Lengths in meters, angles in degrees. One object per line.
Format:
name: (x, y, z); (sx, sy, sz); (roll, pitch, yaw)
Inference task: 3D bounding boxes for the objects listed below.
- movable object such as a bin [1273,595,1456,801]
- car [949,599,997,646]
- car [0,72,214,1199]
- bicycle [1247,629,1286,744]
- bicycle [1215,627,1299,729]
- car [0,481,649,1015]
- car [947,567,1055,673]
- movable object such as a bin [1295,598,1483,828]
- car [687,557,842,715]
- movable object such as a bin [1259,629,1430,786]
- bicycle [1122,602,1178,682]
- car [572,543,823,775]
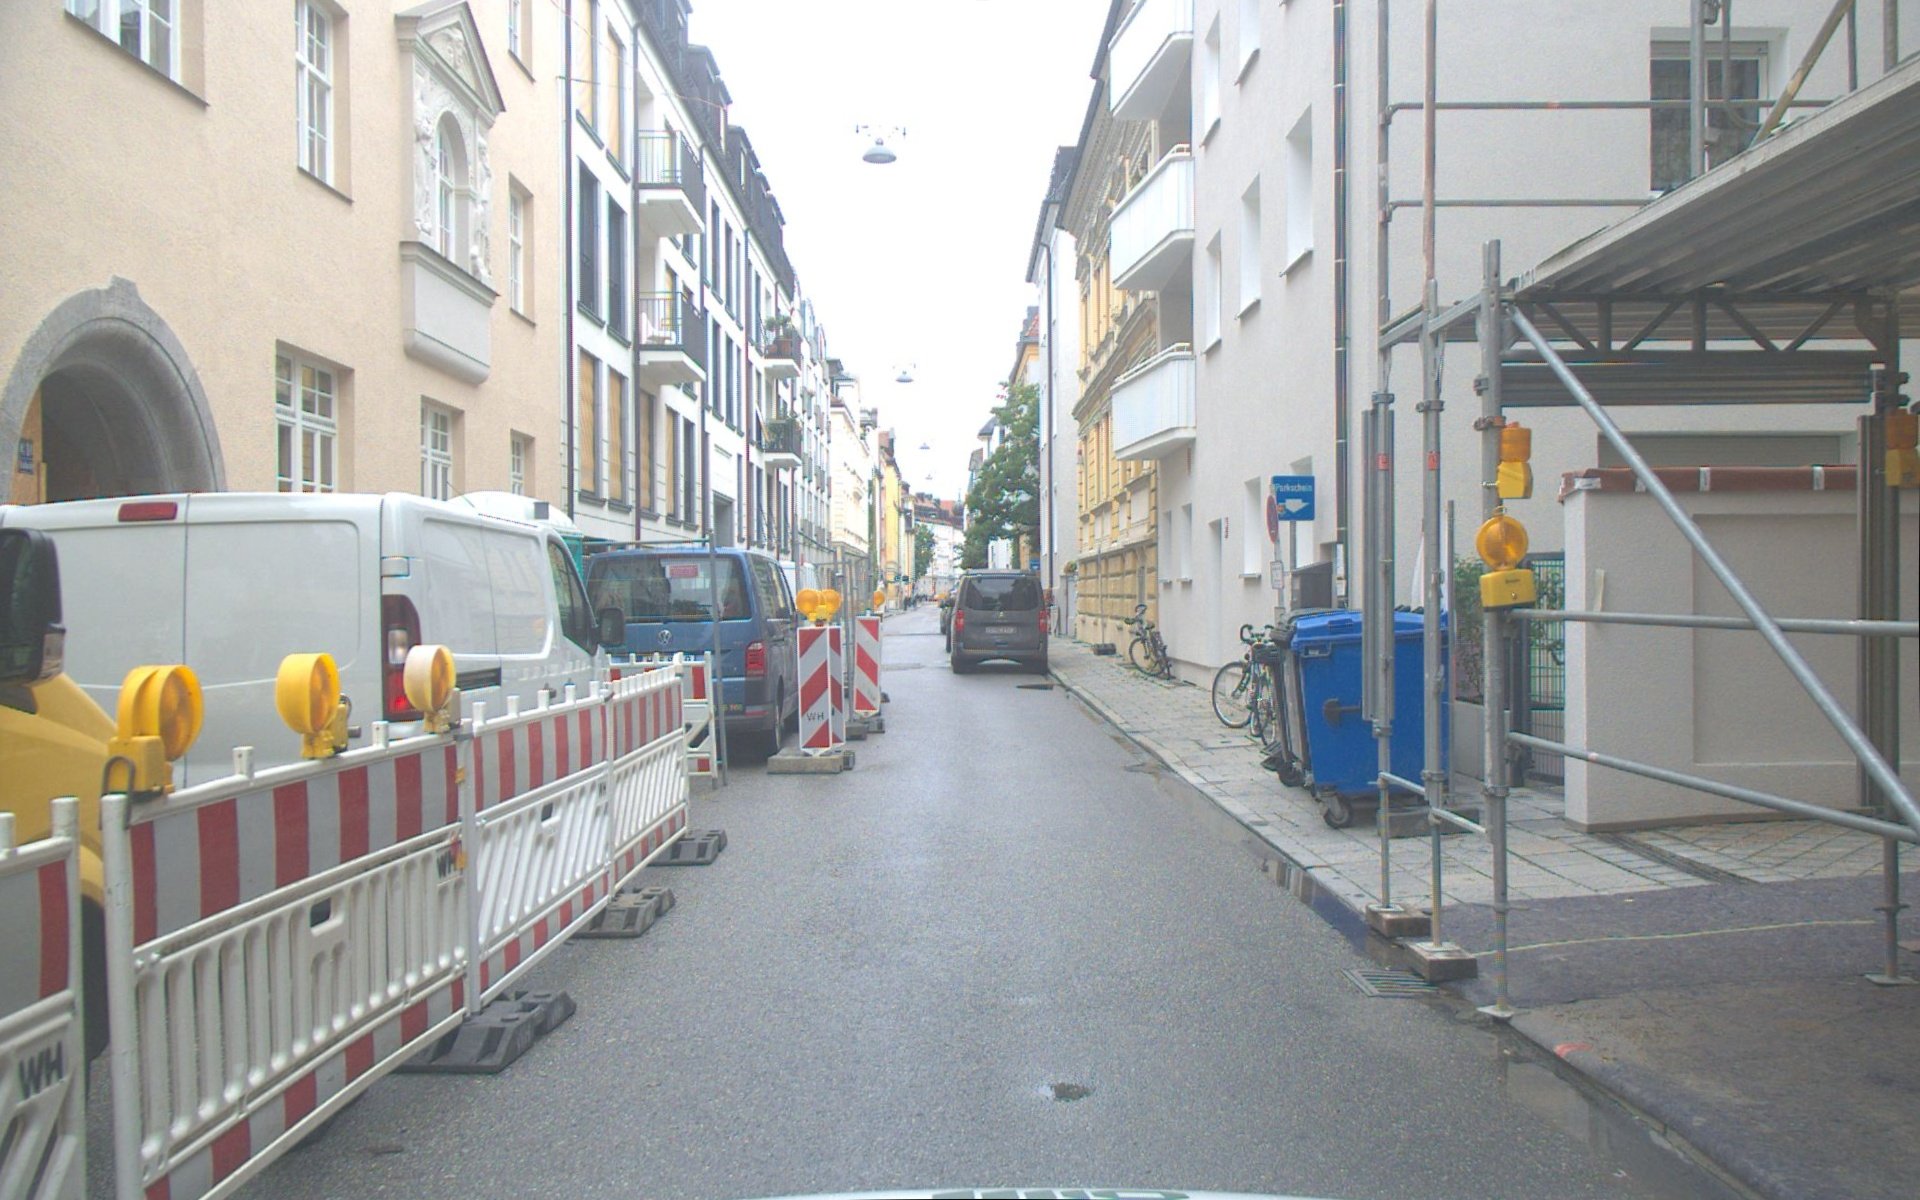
movable object such as a bin: (2.957, 0.693, 12.242); (1.102, 1.369, 1.172); (-4, 0, 7)
car: (0.471, 0.805, 60.892); (1.715, 1.665, 3.444); (0, 0, 0)
car: (-2.991, 0.190, 1.169); (1.953, 2.624, 6.735); (-1, 0, -1)
bicycle: (3.006, 0.826, 16.177); (0.274, 1.009, 1.435); (-4, 0, 12)
bicycle: (3.127, 0.803, 17.520); (0.396, 1.009, 1.326); (-4, 0, -9)
car: (-2.974, 0.556, 8.604); (1.878, 1.930, 4.789); (-2, 0, -2)
car: (0.753, 0.356, 33.355); (1.953, 1.965, 4.659); (1, 0, -1)
movable object such as a bin: (2.812, 0.715, 11.002); (1.063, 1.369, 1.319); (-4, 0, 12)
car: (-2.604, 0.447, 23.079); (1.867, 1.930, 5.085); (-1, 0, -4)
movable object such as a bin: (3.051, 0.844, 13.227); (1.185, 1.114, 0.790); (-4, 0, 7)
bicycle: (3.033, 0.652, 26.519); (0.625, 1.173, 1.915); (-3, 1, 0)
car: (-2.495, 0.507, 17.044); (1.692, 1.930, 5.508); (-2, 0, -1)
